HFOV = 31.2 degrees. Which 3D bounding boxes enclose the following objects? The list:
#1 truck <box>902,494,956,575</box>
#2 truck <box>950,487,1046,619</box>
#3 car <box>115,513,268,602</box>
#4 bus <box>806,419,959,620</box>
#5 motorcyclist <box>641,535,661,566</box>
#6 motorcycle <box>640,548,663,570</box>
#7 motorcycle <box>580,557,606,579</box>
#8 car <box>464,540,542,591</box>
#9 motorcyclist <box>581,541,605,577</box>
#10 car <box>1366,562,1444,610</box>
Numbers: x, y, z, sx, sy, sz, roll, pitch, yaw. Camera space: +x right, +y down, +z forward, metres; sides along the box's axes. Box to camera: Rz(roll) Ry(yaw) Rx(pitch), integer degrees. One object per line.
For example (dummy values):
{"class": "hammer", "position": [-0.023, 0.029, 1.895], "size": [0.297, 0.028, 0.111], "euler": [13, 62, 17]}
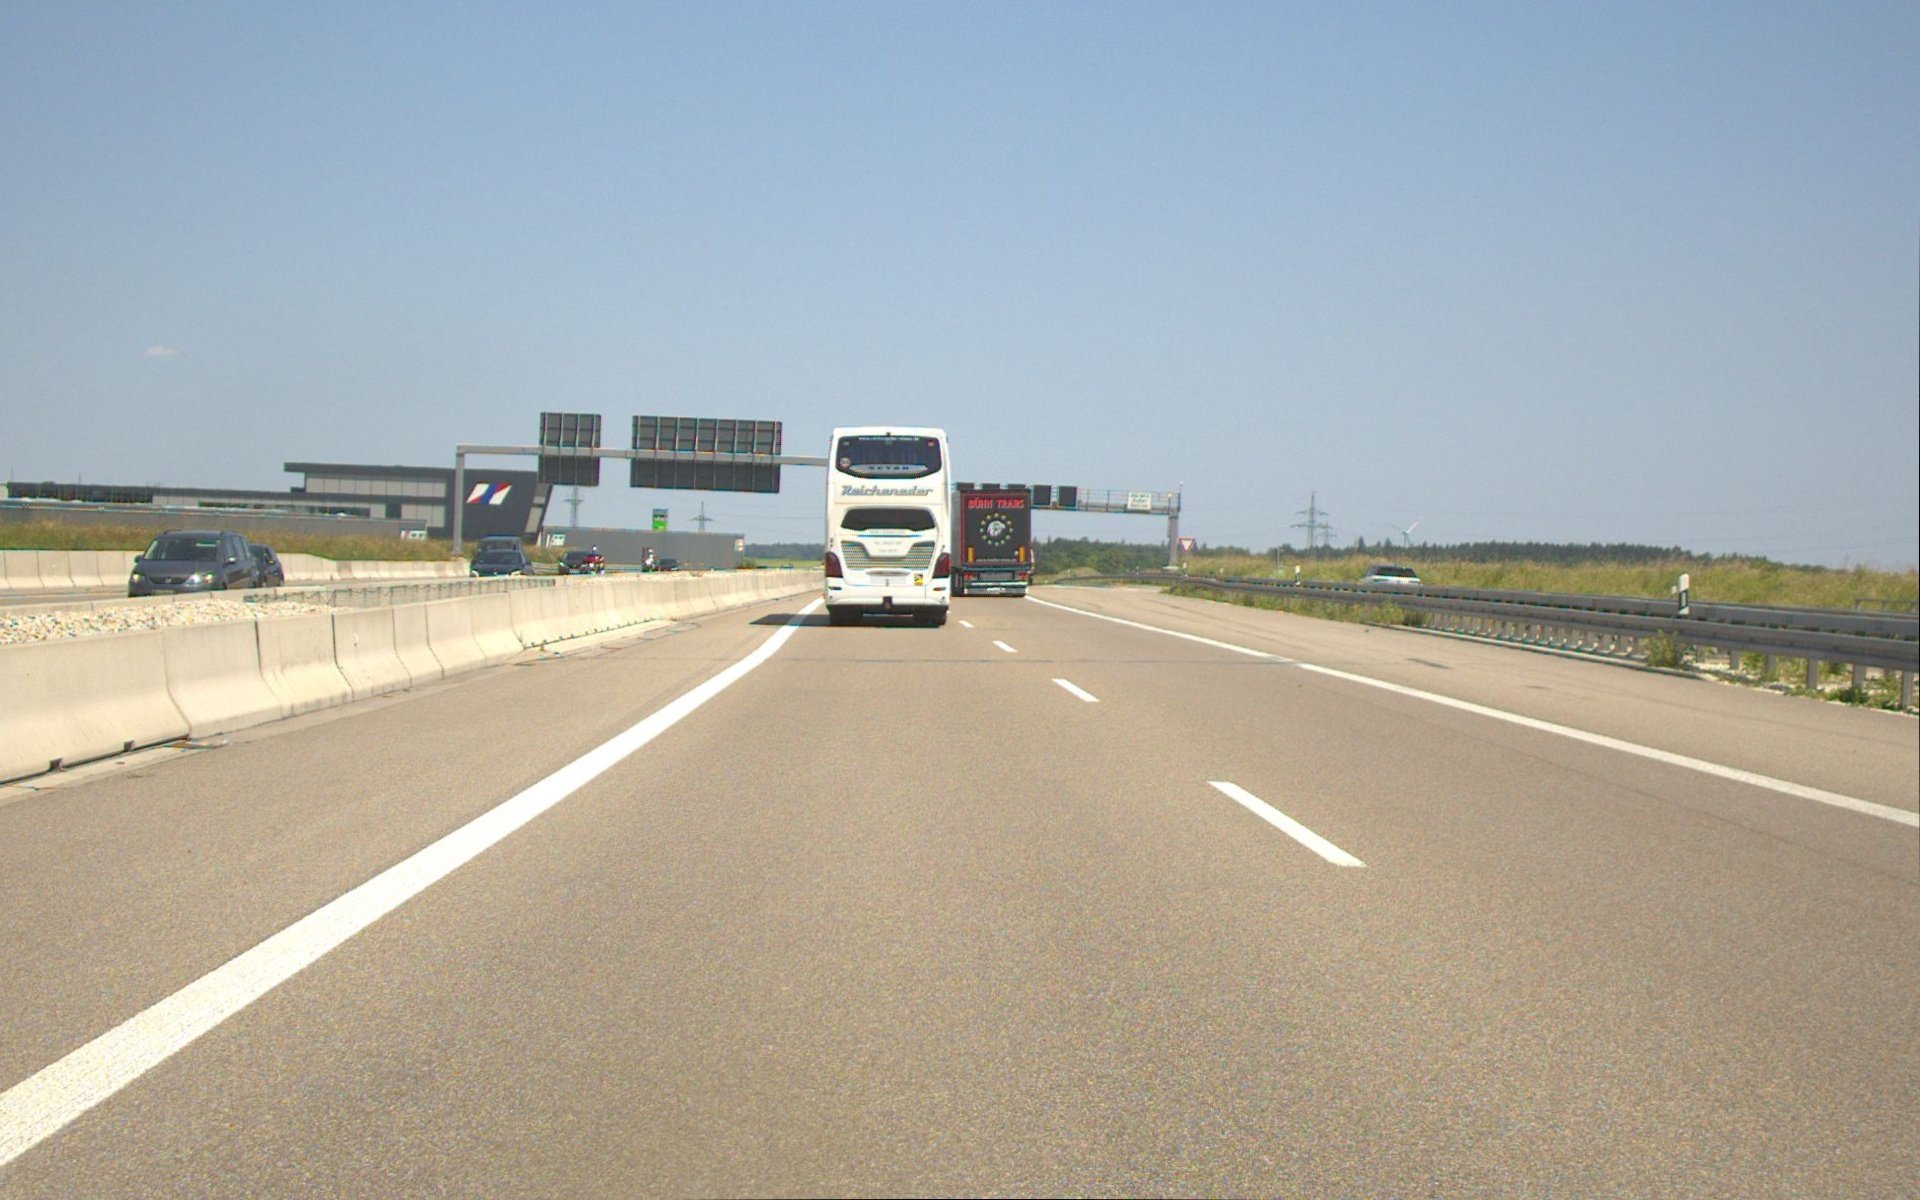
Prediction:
{"class": "truck", "position": [-1.532, -3.143, 165.584], "size": [2.437, 3.776, 6.494], "euler": [1, 1, -1]}
{"class": "truck", "position": [1.524, -1.662, 131.449], "size": [3.379, 4.449, 13.565], "euler": [2, -1, 1]}
{"class": "car", "position": [-15.302, -0.849, 68.708], "size": [1.885, 1.680, 5.015], "euler": [1, 1, 0]}
{"class": "bus", "position": [-1.687, -1.695, 72.993], "size": [2.980, 3.961, 9.106], "euler": [1, 1, -2]}
{"class": "motorcyclist", "position": [-16.300, -2.601, 181.469], "size": [0.920, 1.616, 1.088], "euler": [1, 0, 0]}
{"class": "motorcycle", "position": [-16.301, -2.171, 181.680], "size": [0.958, 1.165, 2.723], "euler": [1, 1, 0]}
{"class": "motorcycle", "position": [-15.672, -1.381, 146.943], "size": [0.775, 0.899, 2.705], "euler": [1, 1, 0]}
{"class": "car", "position": [-15.324, -1.159, 115.378], "size": [1.993, 1.663, 4.649], "euler": [1, 1, 0]}
{"class": "motorcyclist", "position": [-15.651, -1.749, 146.732], "size": [0.918, 1.492, 0.923], "euler": [1, 1, 0]}
{"class": "car", "position": [14.798, -0.482, 114.512], "size": [1.891, 1.524, 4.262], "euler": [1, 1, -2]}
